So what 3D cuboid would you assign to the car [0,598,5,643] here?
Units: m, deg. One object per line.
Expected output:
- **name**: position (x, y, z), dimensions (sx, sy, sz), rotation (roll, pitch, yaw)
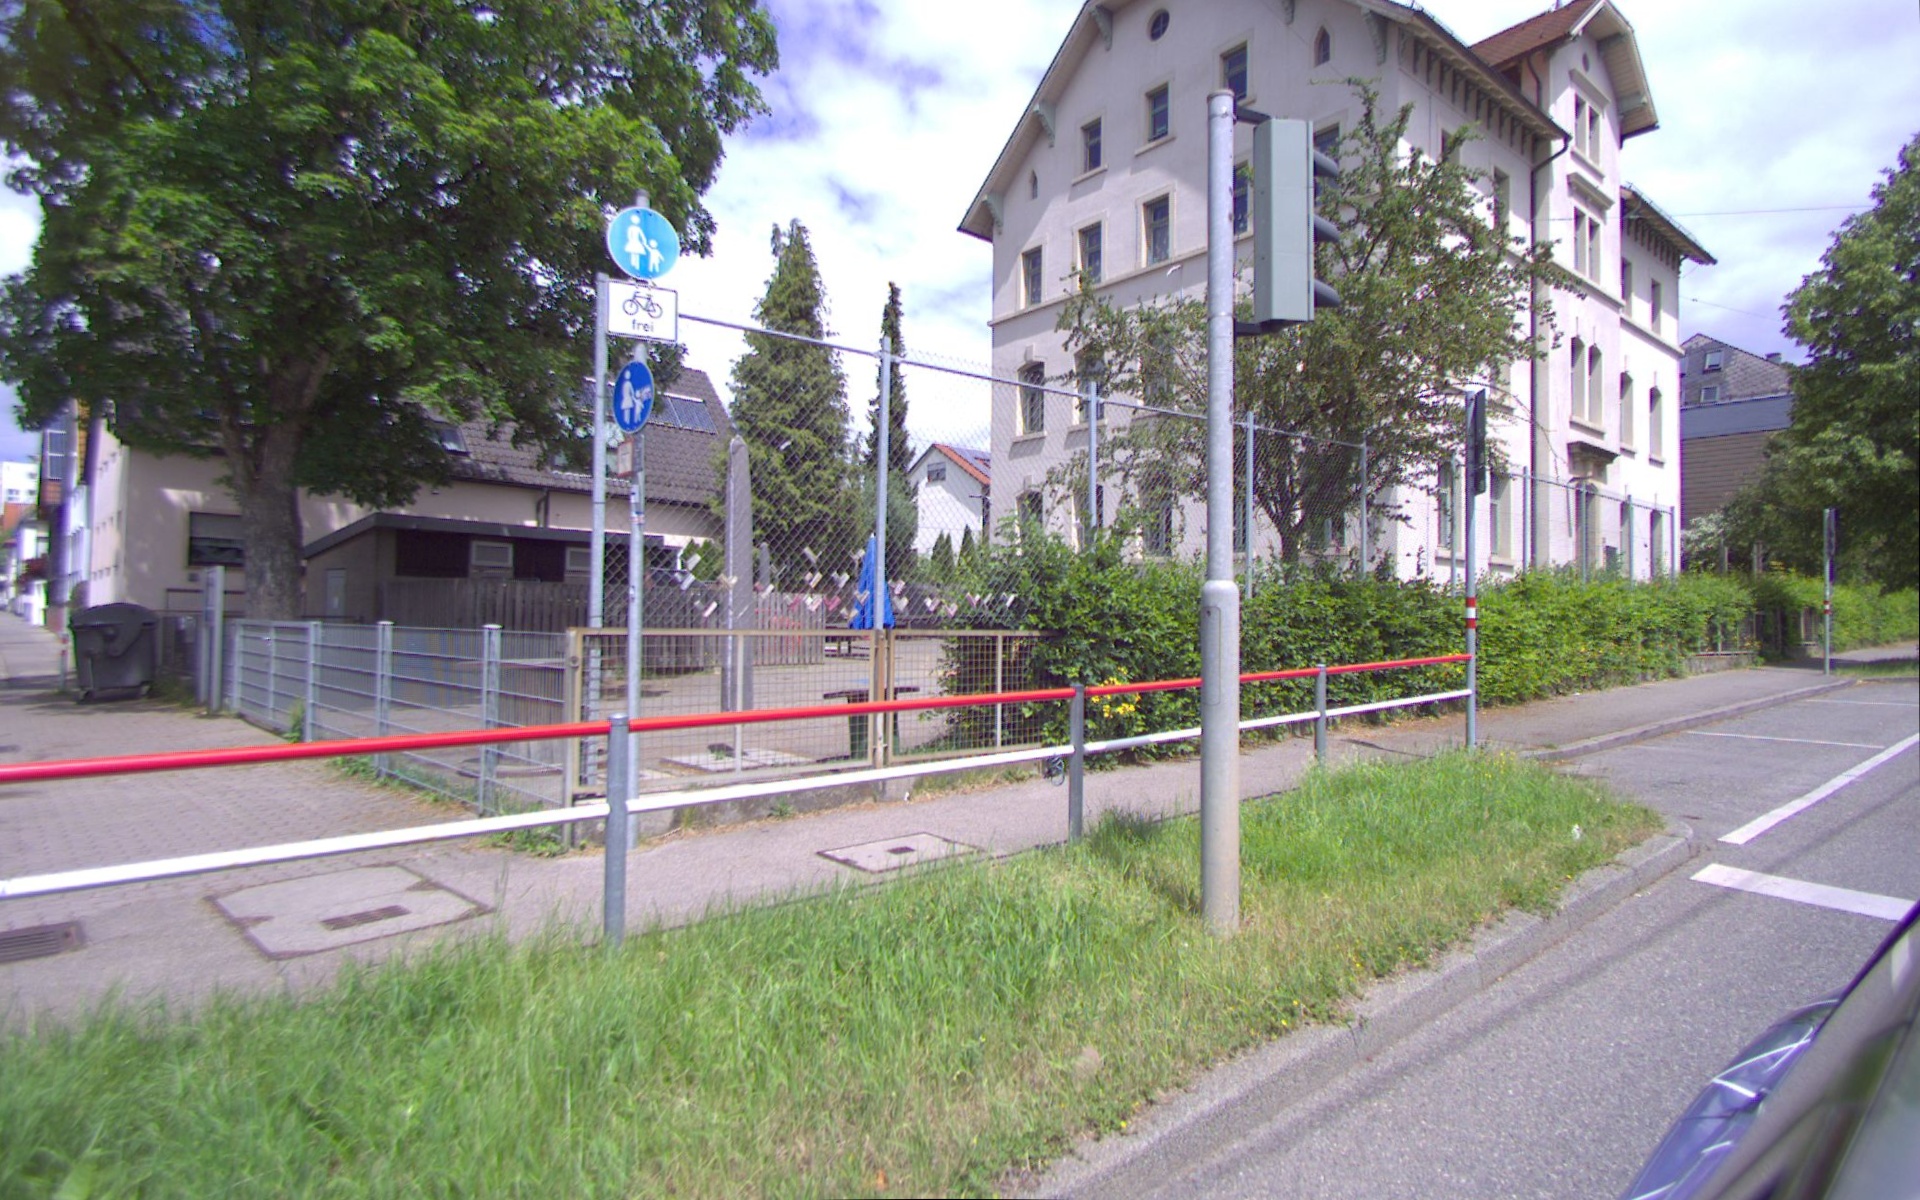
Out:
- **car**: position (-32.742, 0.730, 33.515), dimensions (1.574, 1.438, 3.988), rotation (0, -2, -44)
